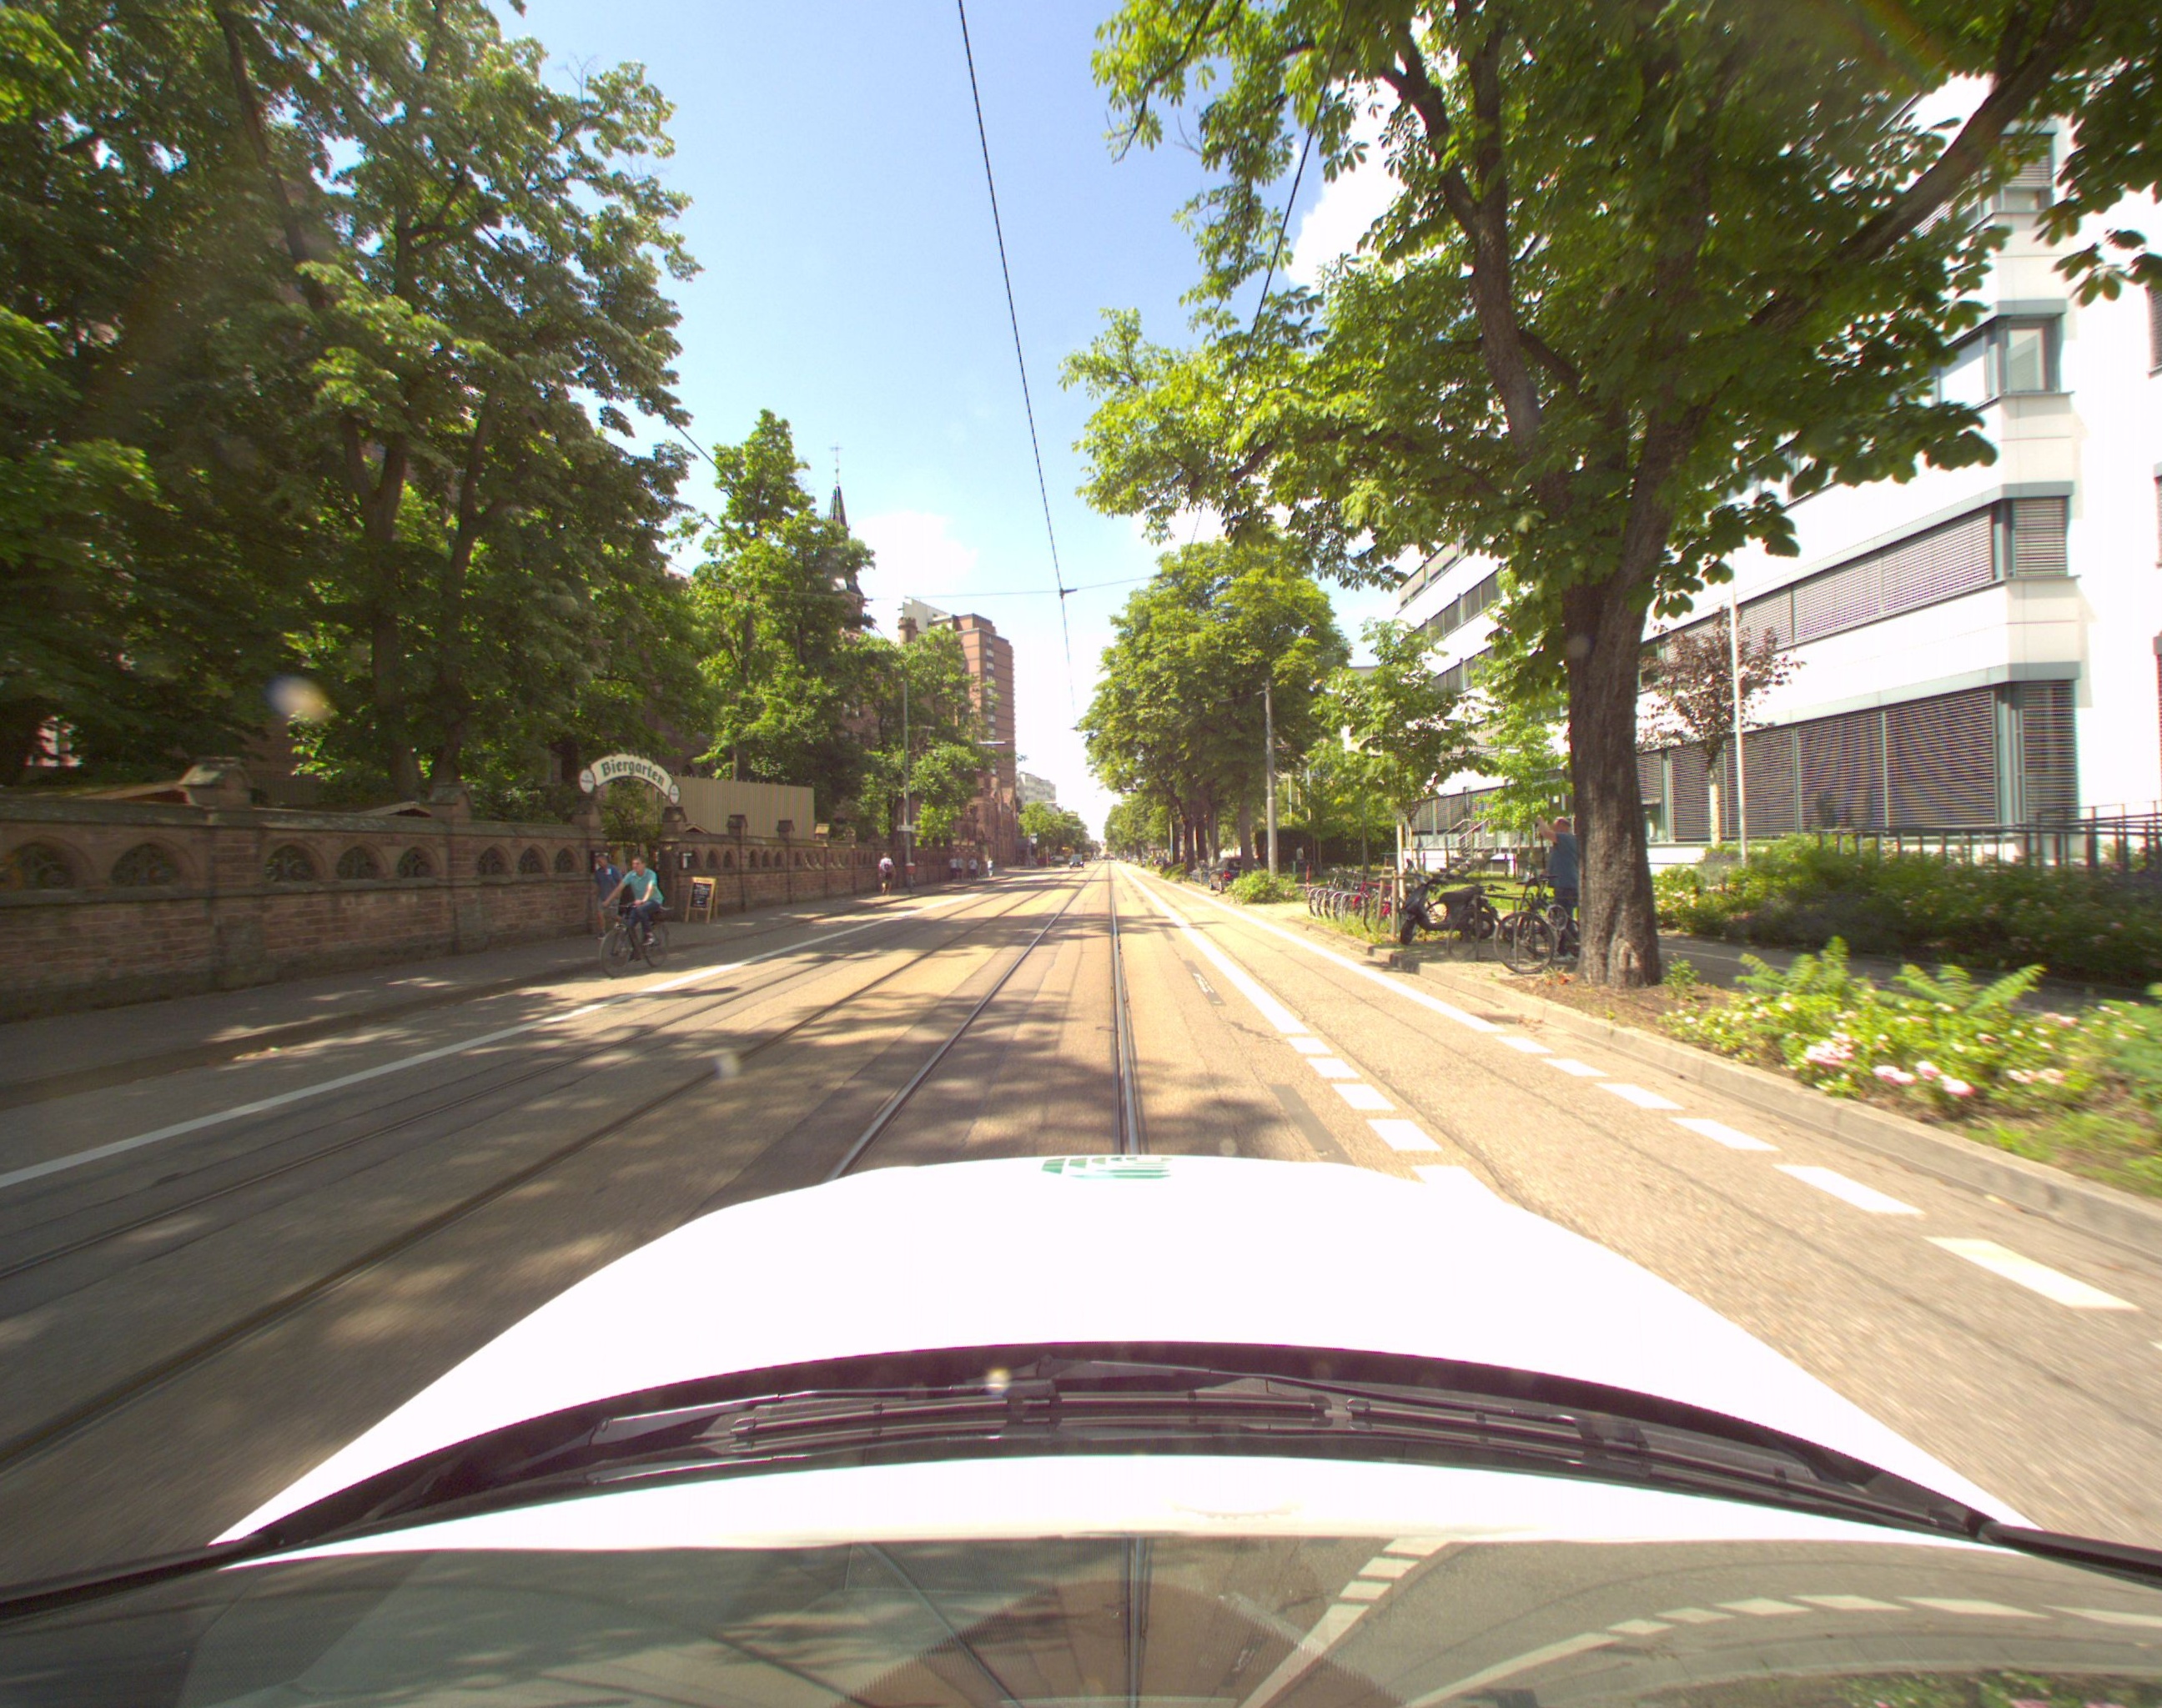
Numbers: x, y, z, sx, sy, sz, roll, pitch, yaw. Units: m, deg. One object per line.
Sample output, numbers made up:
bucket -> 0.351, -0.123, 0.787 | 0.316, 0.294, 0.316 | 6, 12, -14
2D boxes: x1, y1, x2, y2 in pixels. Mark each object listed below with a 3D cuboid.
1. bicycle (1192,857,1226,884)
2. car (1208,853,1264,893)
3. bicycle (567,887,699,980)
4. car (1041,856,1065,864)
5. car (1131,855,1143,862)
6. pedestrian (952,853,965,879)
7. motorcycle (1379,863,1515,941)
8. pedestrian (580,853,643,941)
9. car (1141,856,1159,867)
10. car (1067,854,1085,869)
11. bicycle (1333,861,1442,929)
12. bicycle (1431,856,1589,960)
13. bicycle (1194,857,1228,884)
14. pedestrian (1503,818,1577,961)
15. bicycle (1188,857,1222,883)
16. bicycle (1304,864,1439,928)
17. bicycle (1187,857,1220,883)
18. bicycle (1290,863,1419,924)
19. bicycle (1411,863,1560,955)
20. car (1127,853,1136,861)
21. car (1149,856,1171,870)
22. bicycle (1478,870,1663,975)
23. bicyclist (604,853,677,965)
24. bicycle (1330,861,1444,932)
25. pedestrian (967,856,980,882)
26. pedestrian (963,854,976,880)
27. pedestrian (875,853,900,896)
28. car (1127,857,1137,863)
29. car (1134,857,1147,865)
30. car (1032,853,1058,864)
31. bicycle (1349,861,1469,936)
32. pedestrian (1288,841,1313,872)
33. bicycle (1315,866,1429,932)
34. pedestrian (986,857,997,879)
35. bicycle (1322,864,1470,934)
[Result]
bicycle -> 6.231, 0.804, 39.712 | 1.558, 1.241, 0.437 | -2, 0, 3
car -> 6.270, 0.744, 33.303 | 1.628, 1.501, 4.002 | -2, 0, 2
bicycle -> -6.880, 1.171, 12.668 | 0.698, 1.204, 2.241 | -4, 0, 1
car -> -5.948, 1.273, 173.265 | 4.753, 1.717, 1.983 | -2, 0, -26
car -> 10.147, 0.842, 147.667 | 1.986, 1.310, 4.002 | -2, 0, 2
pedestrian -> -8.388, 0.835, 55.888 | 0.740, 1.728, 0.868 | -1, 0, 1
motorcycle -> 5.643, 0.731, 12.625 | 1.817, 1.110, 0.598 | -2, 0, 2
pedestrian -> -9.547, 0.861, 16.601 | 0.740, 1.728, 0.868 | -1, 0, 1
car -> 8.787, 0.893, 104.158 | 1.986, 1.310, 4.002 | -2, 0, 2
car -> -0.667, 0.982, 107.865 | 1.984, 2.013, 4.005 | -2, 0, 4
bicycle -> 5.474, 0.719, 14.586 | 1.747, 1.165, 0.530 | -1, 0, -2
bicycle -> 5.513, 0.680, 10.506 | 1.747, 1.271, 0.530 | -1, -1, -2
bicycle -> 6.244, 0.810, 39.207 | 1.558, 1.241, 0.437 | -2, 0, 3
pedestrian -> 5.789, 0.426, 10.271 | 0.577, 1.715, 0.802 | -2, -1, 44
bicycle -> 6.134, 0.804, 40.298 | 1.558, 1.241, 0.437 | -2, 0, 3
bicycle -> 5.908, 0.848, 16.646 | 2.498, 1.209, 0.623 | -2, 0, 6
bicycle -> 6.148, 0.803, 40.826 | 1.558, 1.241, 0.437 | -2, 0, 3
bicycle -> 5.818, 0.842, 17.447 | 2.498, 1.209, 0.743 | -2, 0, 6
bicycle -> 5.449, 0.727, 11.010 | 1.747, 1.165, 0.530 | -1, 0, -2
car -> 11.647, 0.713, 188.104 | 1.986, 1.904, 4.002 | -2, 0, 2
car -> 7.959, 0.863, 82.506 | 1.986, 1.310, 4.002 | -2, 0, 2
bicycle -> 5.575, 0.765, 9.333 | 1.782, 1.102, 0.531 | -2, 0, -1
bicyclist -> -6.866, 0.838, 12.738 | 0.639, 1.679, 0.815 | -2, 0, 1
bicycle -> 5.278, 0.719, 14.088 | 1.747, 1.165, 0.530 | -1, 0, -2
pedestrian -> -7.184, 0.987, 54.372 | 0.740, 1.728, 0.868 | -1, 0, 1
pedestrian -> -7.625, 0.900, 55.855 | 0.740, 1.728, 0.868 | -1, 0, 1
pedestrian -> -8.226, 0.870, 34.618 | 0.812, 1.770, 0.925 | -1, 0, 1
car -> 11.213, 1.282, 178.396 | 1.986, 1.310, 4.002 | -2, 0, 2
car -> 9.843, 1.152, 134.643 | 1.986, 1.310, 4.002 | -2, 0, 2
car -> -6.151, 0.798, 139.901 | 4.012, 1.804, 1.981 | 1, 0, -31
bicycle -> 5.355, 0.722, 13.338 | 1.747, 1.165, 0.530 | -1, 0, -2
pedestrian -> 13.252, 0.159, 49.218 | 1.212, 1.827, 0.831 | -2, 0, -2
bicycle -> 5.699, 0.875, 16.013 | 1.987, 1.209, 0.663 | -2, 0, 6
pedestrian -> -6.970, 1.092, 63.528 | 0.740, 1.728, 0.867 | -1, 0, 1
bicycle -> 5.885, 0.839, 15.322 | 2.498, 1.209, 0.649 | -2, 0, 6
